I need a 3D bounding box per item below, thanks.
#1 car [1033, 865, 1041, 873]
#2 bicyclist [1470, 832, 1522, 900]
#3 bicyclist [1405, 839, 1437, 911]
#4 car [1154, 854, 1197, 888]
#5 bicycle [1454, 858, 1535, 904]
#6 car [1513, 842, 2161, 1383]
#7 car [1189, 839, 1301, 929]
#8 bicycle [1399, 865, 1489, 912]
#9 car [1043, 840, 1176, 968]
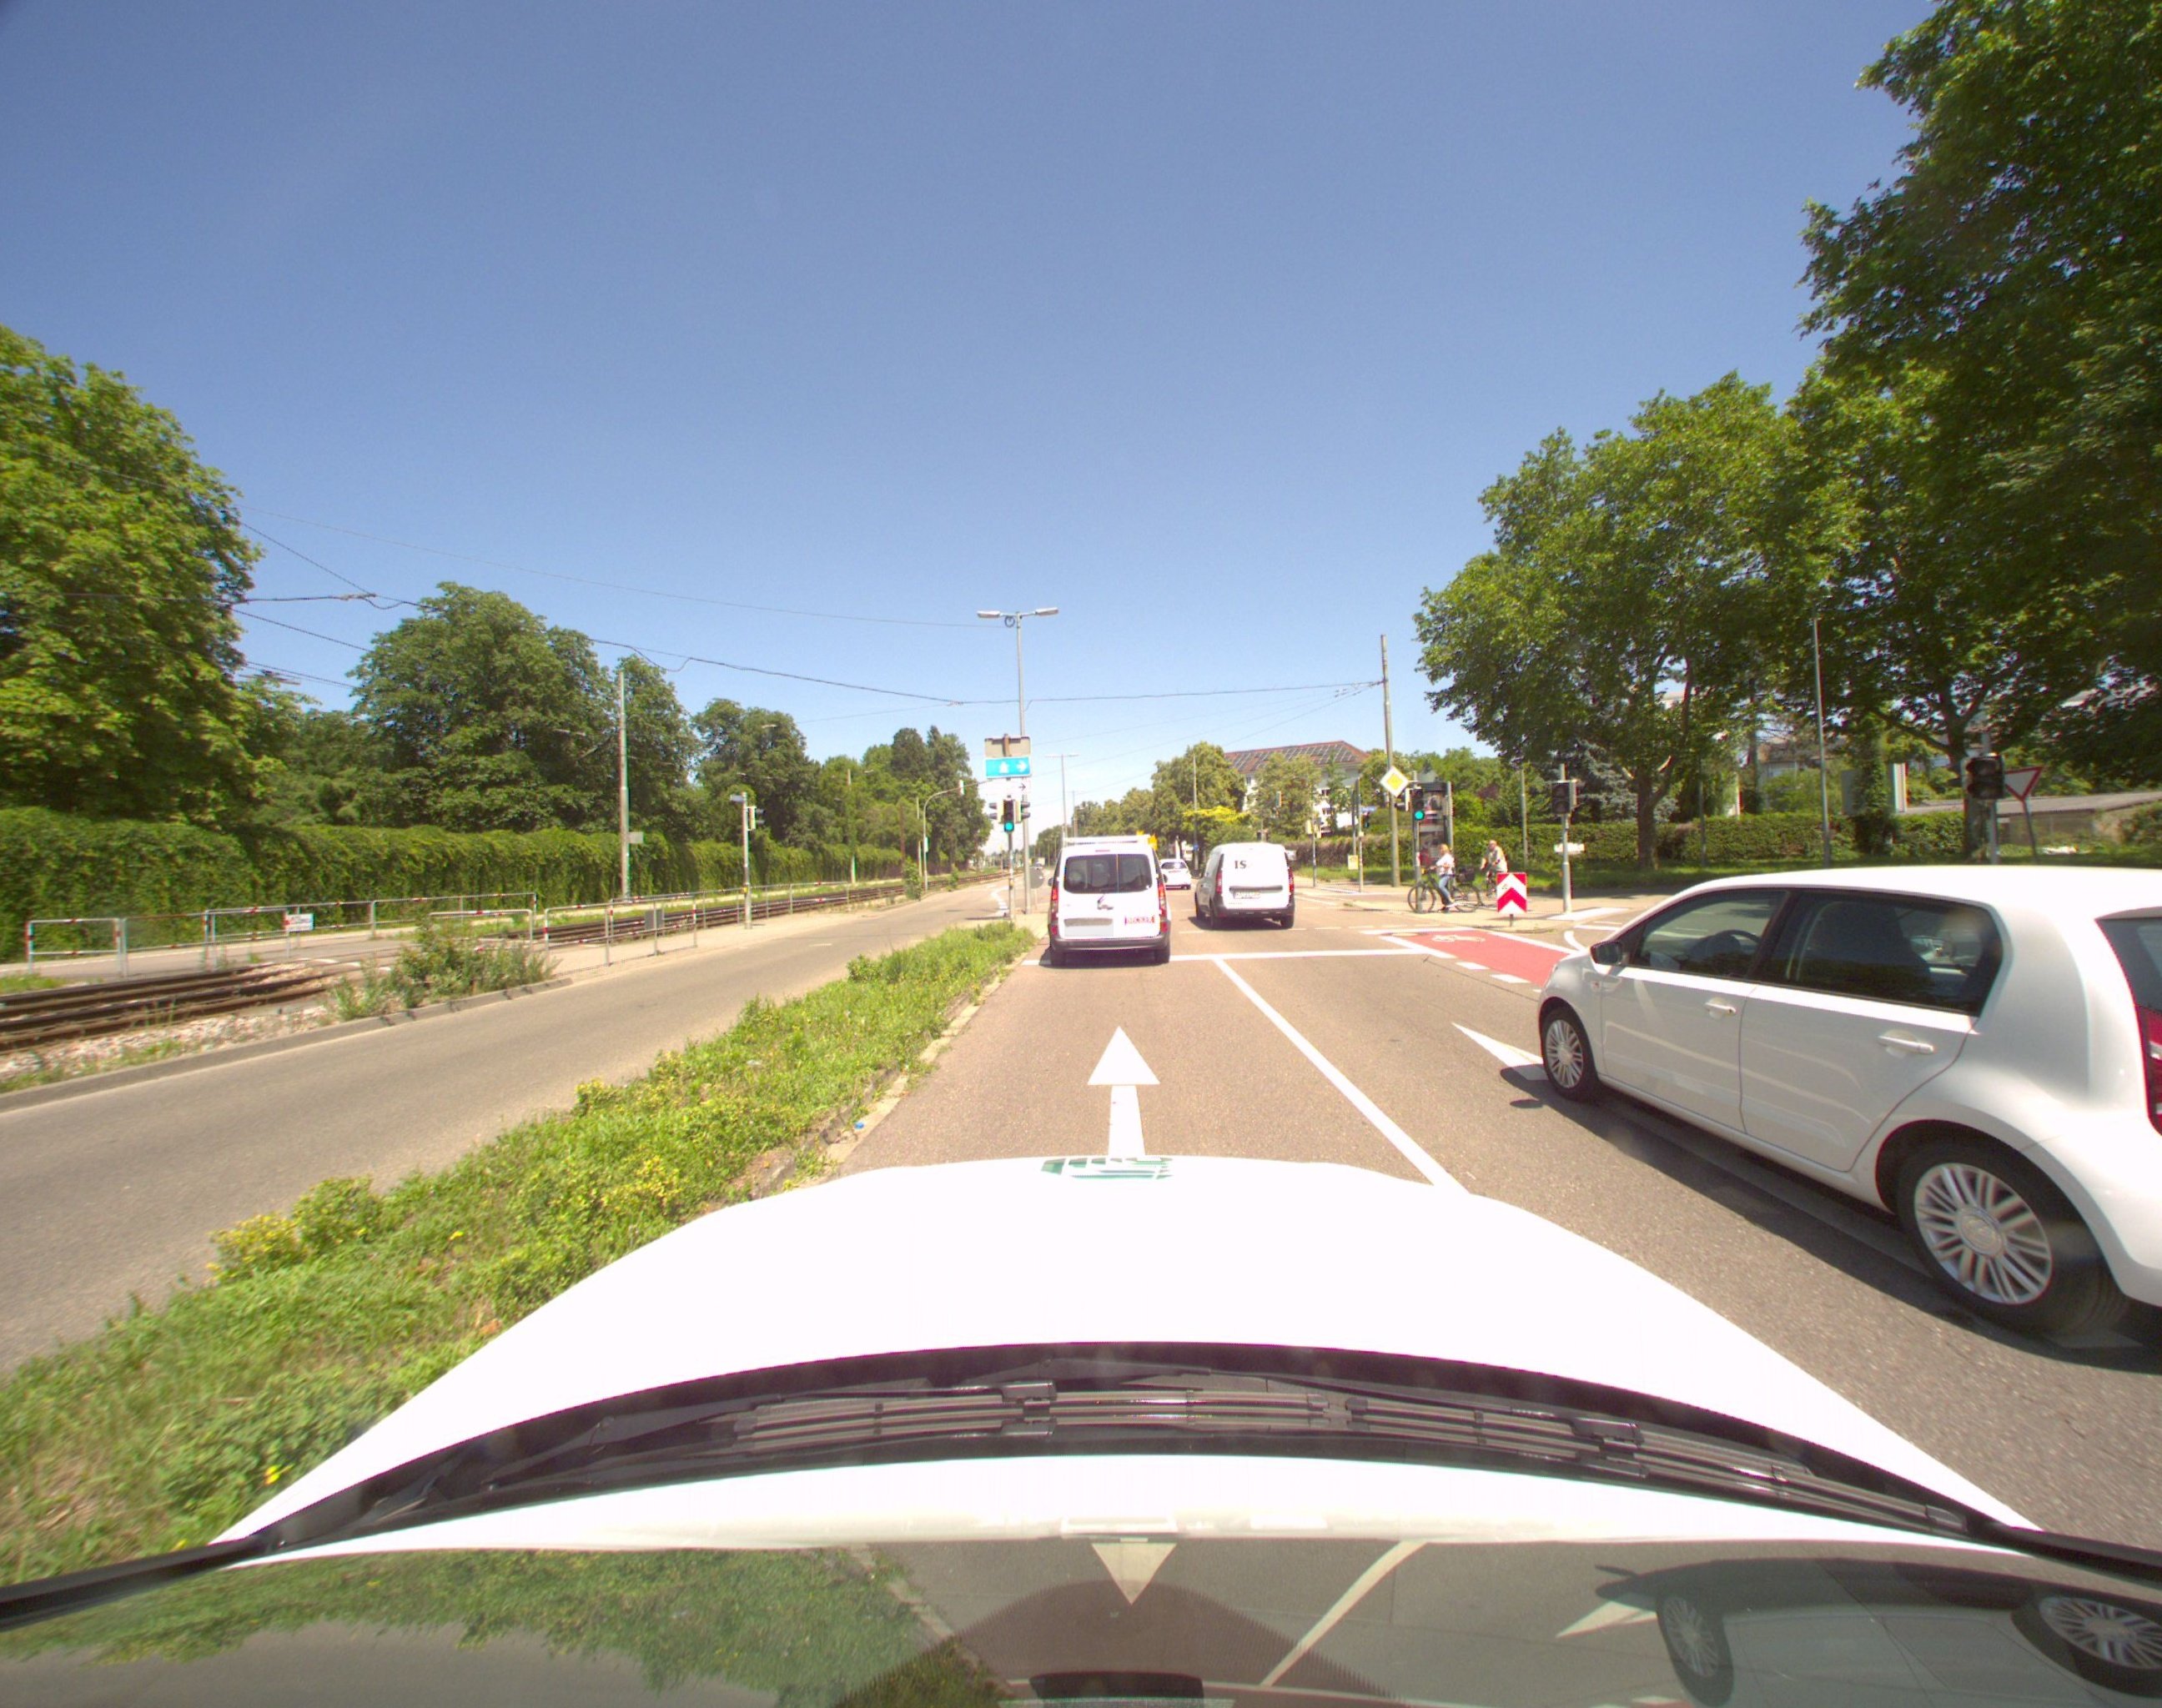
[{"bbox_3d":[-10.214,3.450,187.471,1.694,1.512,4.060,-2,0,-4],"label":"car"},{"bbox_3d":[11.238,0.320,22.064,0.727,1.788,0.969,-1,-1,-23],"label":"bicyclist"},{"bbox_3d":[8.609,0.518,20.615,0.573,1.788,0.770,0,-1,9],"label":"bicyclist"},{"bbox_3d":[4.686,0.812,40.907,1.828,1.568,4.001,0,0,1],"label":"car"},{"bbox_3d":[11.210,0.722,22.081,1.958,1.159,0.888,-1,-1,-23],"label":"bicycle"},{"bbox_3d":[3.724,0.684,3.885,1.603,1.447,3.437,0,0,2],"label":"car"},{"bbox_3d":[3.549,0.626,18.321,1.722,1.788,4.064,0,-1,1],"label":"car"},{"bbox_3d":[8.986,0.847,20.216,1.855,1.125,0.897,-1,-1,9],"label":"bicycle"},{"bbox_3d":[0.452,0.699,13.461,1.814,1.739,4.397,-1,0,1],"label":"car"}]
